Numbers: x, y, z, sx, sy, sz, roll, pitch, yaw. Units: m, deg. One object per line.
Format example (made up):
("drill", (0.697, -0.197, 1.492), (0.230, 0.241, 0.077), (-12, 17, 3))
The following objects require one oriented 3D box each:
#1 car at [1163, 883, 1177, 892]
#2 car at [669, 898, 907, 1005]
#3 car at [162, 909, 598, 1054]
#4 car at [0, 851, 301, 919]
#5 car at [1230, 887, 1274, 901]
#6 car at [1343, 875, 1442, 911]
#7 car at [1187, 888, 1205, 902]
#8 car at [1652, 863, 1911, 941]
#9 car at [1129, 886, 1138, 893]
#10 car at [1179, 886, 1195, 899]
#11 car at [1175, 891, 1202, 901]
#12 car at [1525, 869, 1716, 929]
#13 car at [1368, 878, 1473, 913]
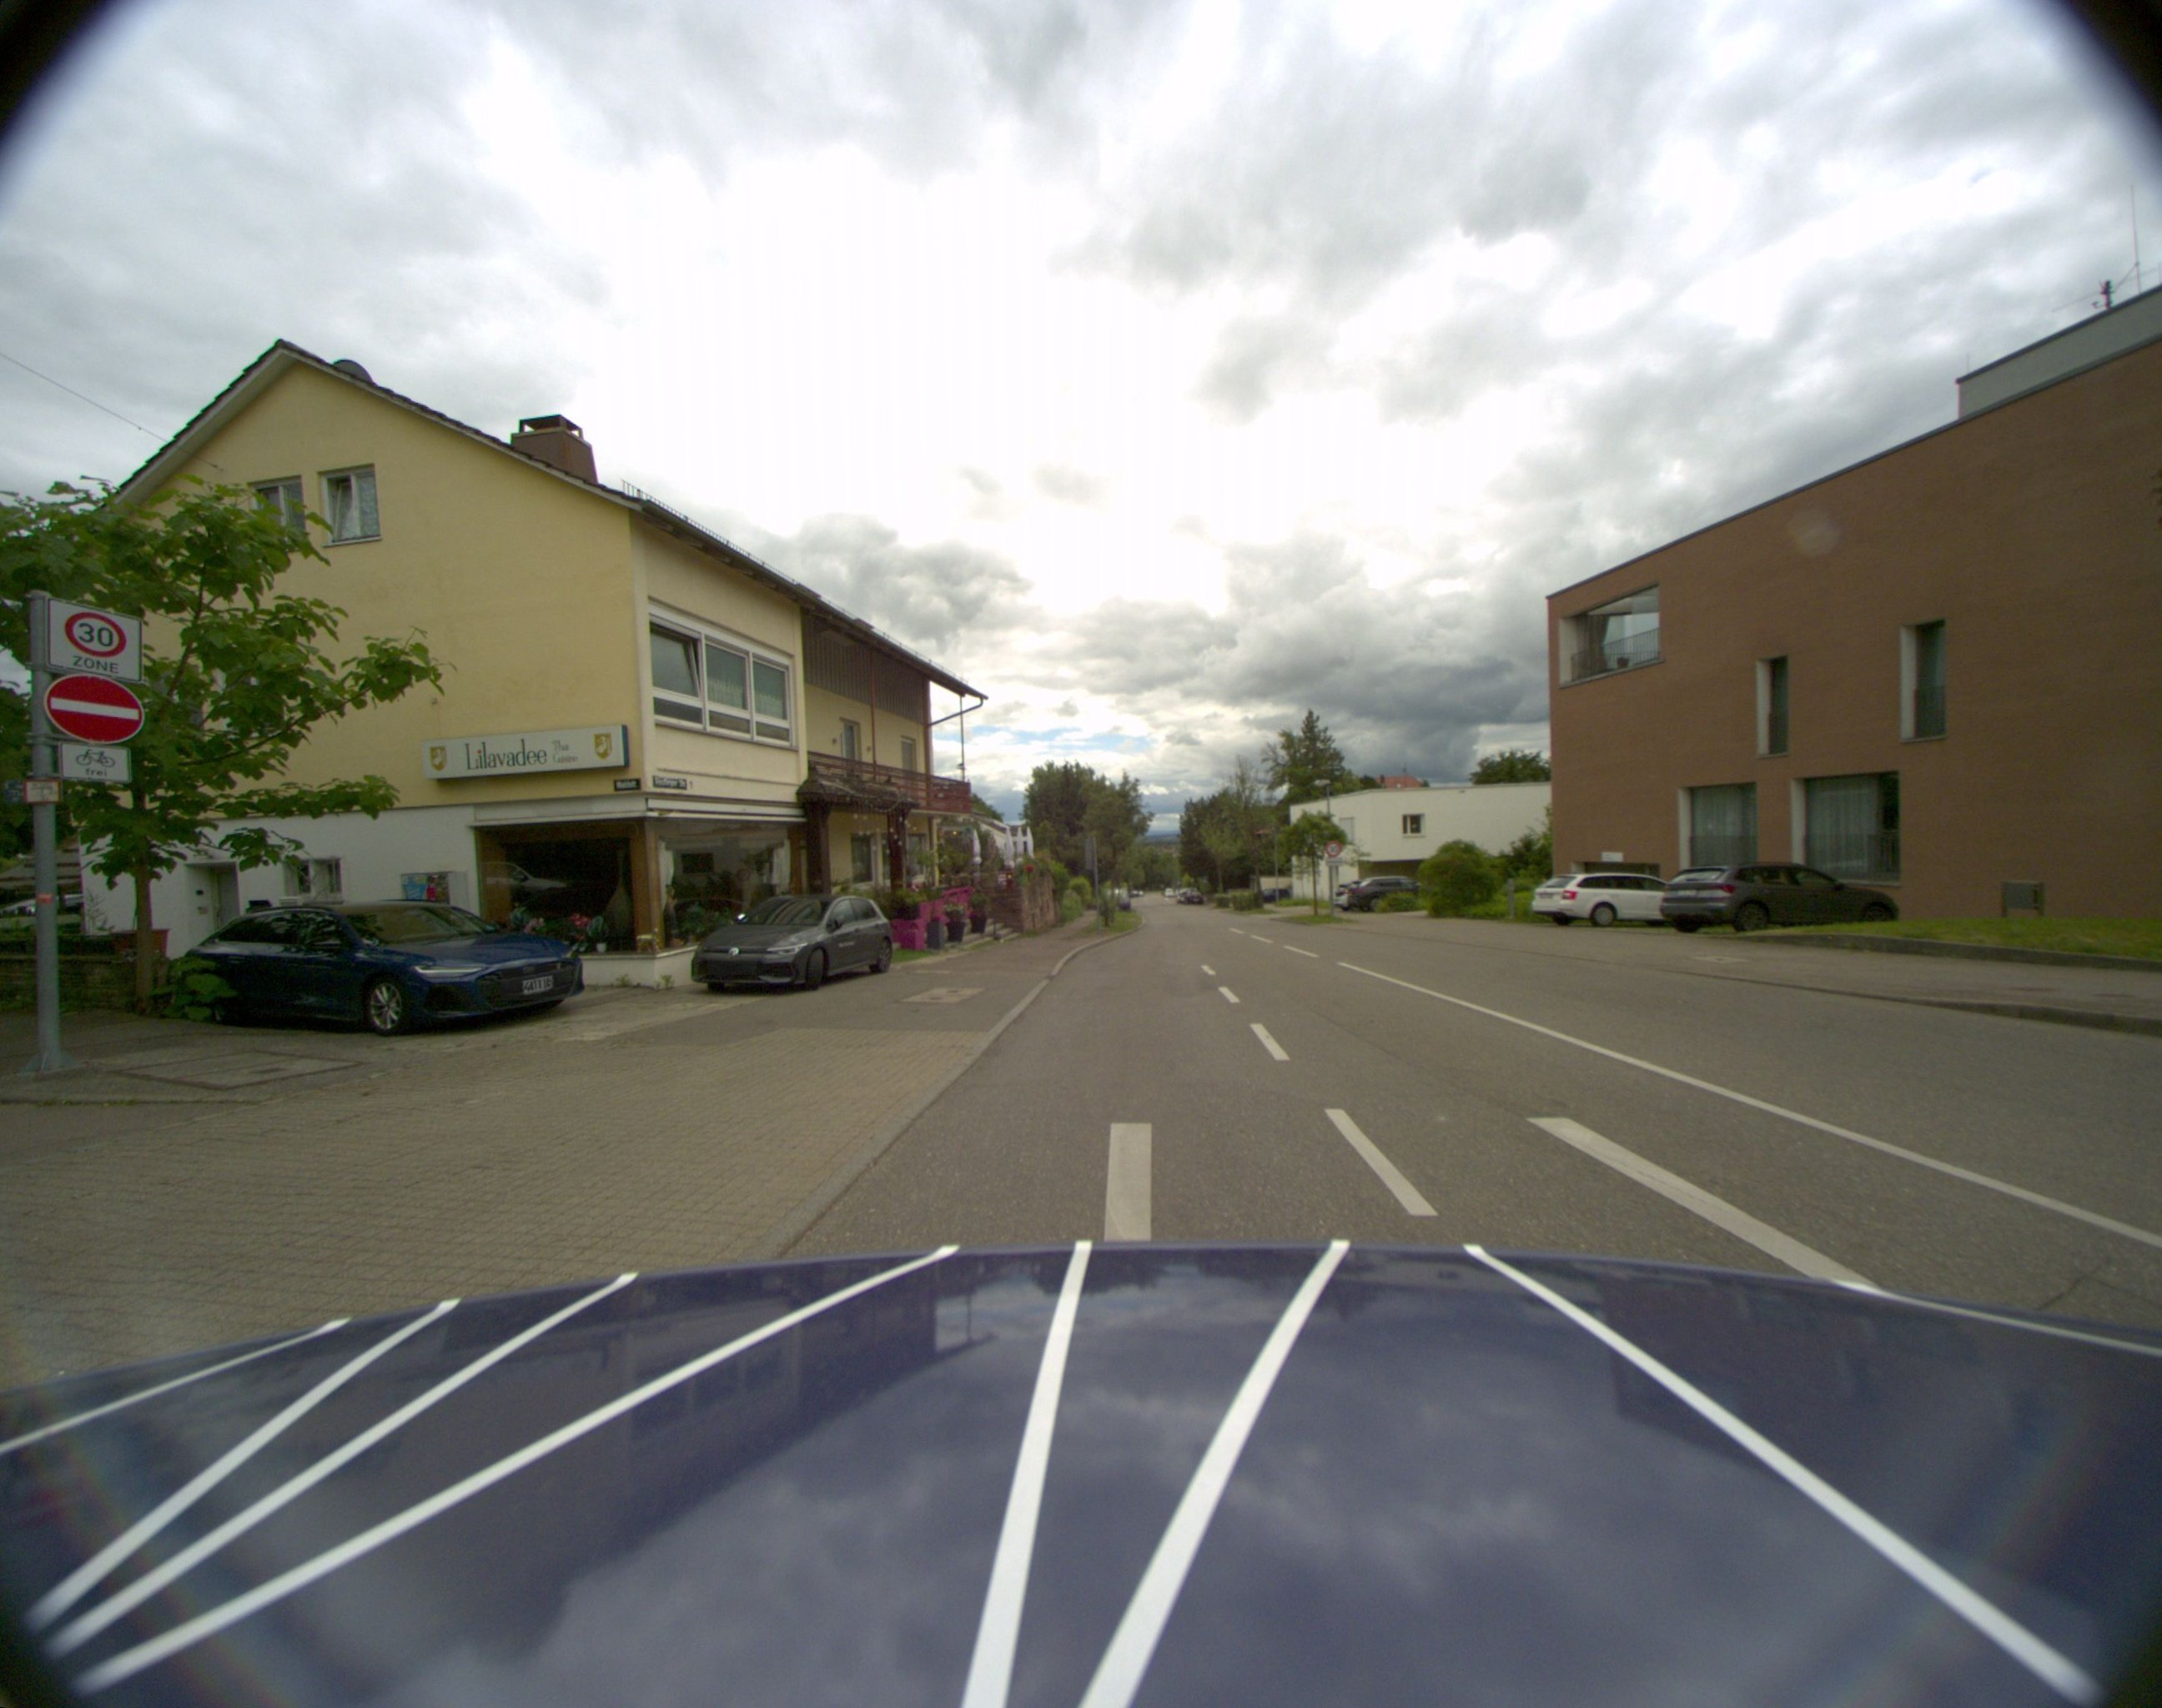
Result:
("car", (16.195, 6.068, 137.976), (1.884, 1.412, 4.368), (-1, -1, -2))
("car", (-4.548, 1.478, 12.629), (1.796, 1.452, 4.332), (-1, -4, 8))
("car", (-8.534, 1.417, 9.291), (4.739, 1.378, 1.802), (-2, -1, 18))
("car", (-22.696, 0.820, 18.801), (1.795, 1.452, 4.336), (-2, -4, 22))
("car", (16.539, 3.884, 73.733), (3.995, 1.278, 1.665), (-2, -3, 7))
("car", (15.049, 1.895, 36.880), (3.996, 1.585, 1.795), (-2, -3, 3))
("car", (12.173, 4.299, 80.582), (1.661, 1.412, 4.004), (-2, -3, 6))
("car", (14.911, 1.011, 16.313), (3.998, 1.476, 1.727), (-1, -3, -3))
("car", (12.742, 8.578, 183.591), (1.883, 1.412, 4.369), (-1, -1, 1))
("car", (12.489, 4.554, 89.579), (1.661, 1.412, 4.372), (-2, -3, 6))
("car", (16.979, 6.669, 120.122), (3.998, 1.476, 1.727), (-1, -3, -4))
("car", (14.610, 1.217, 20.717), (3.998, 1.476, 1.727), (-1, -3, -3))
("car", (15.595, 1.897, 35.039), (3.996, 1.476, 1.728), (-2, -3, 3))
